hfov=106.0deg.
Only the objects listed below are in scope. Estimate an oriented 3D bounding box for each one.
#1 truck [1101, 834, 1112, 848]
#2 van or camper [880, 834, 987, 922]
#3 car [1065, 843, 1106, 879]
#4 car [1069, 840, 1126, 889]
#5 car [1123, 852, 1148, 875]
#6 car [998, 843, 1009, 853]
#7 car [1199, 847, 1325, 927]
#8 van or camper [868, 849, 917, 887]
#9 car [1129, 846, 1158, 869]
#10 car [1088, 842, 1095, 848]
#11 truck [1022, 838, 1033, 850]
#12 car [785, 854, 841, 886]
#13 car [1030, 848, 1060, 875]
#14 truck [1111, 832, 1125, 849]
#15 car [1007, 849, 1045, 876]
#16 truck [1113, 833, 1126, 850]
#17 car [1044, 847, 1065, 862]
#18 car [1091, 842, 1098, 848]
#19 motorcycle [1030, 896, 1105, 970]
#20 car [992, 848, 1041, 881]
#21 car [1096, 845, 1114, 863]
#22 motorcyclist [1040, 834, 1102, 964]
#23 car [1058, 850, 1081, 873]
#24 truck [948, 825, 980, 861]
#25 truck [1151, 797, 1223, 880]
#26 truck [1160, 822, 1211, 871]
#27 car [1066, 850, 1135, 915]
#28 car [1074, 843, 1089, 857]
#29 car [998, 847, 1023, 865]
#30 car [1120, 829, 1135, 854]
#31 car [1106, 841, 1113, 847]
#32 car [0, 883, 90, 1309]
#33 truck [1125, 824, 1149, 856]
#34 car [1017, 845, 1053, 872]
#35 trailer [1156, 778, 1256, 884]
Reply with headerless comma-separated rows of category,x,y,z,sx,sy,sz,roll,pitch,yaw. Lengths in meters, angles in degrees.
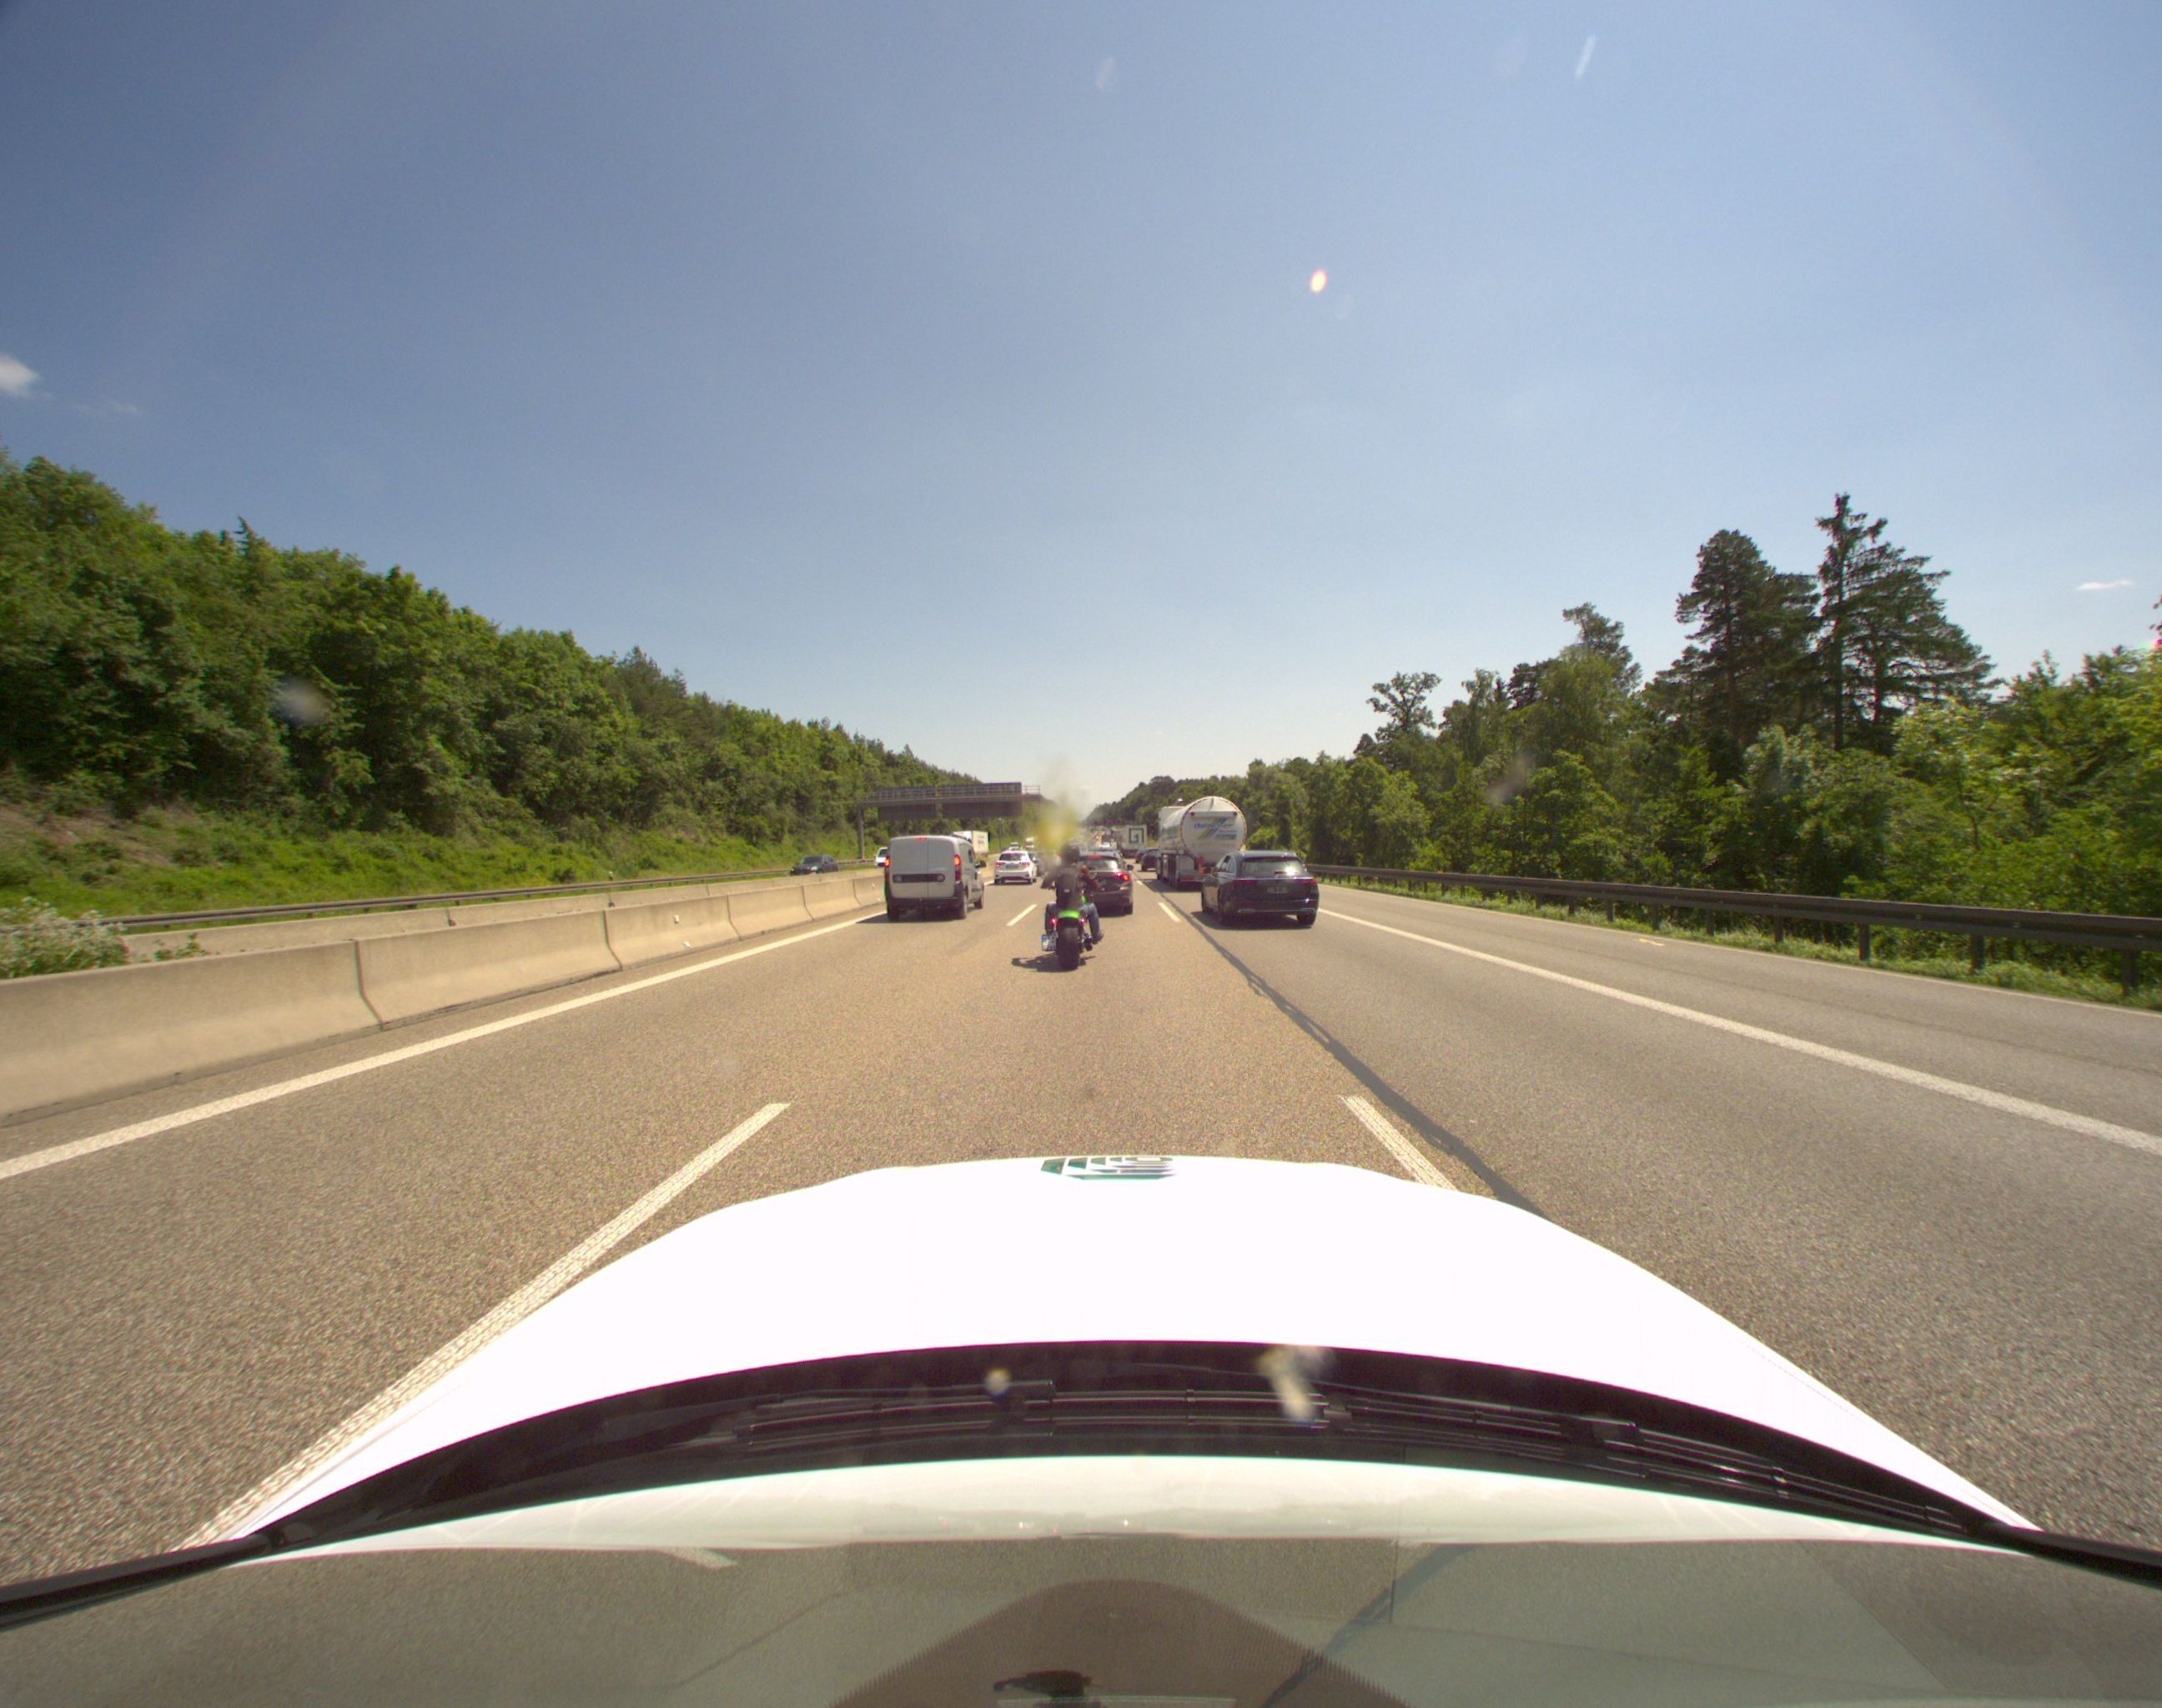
truck,6.456,-3.230,206.202,2.686,3.405,10.483,-2,0,2
van or camper,-3.445,0.474,19.809,1.848,1.880,4.559,0,1,-1
car,0.264,0.376,41.960,1.986,1.775,4.000,0,-1,1
car,0.609,0.385,30.356,1.986,1.711,4.000,0,-1,1
car,4.955,0.857,74.610,1.987,2.014,3.999,0,-1,0
car,-16.536,-1.264,173.881,1.986,2.014,4.001,0,-1,2
car,3.643,0.631,17.228,1.785,1.458,4.626,0,-1,2
van or camper,-13.290,0.964,57.802,1.986,2.385,4.811,-6,-1,2
car,4.218,0.237,55.056,1.769,1.527,4.001,0,-1,2
car,3.064,-2.599,230.309,1.763,1.556,4.002,-2,0,2
truck,-13.095,-2.471,199.300,2.170,2.884,6.744,0,-1,1
car,-17.337,1.010,52.900,2.106,2.014,4.478,0,-1,0
car,-2.781,0.609,63.714,1.986,2.014,4.001,0,-1,1
truck,7.976,-2.850,176.092,2.686,3.405,10.483,-2,0,2
car,-3.158,0.480,47.230,1.988,1.464,3.998,0,-1,-1
truck,5.124,-1.641,108.872,1.584,2.111,3.755,0,-1,4
car,-2.635,0.094,80.507,1.757,1.442,4.002,0,-1,2
car,4.306,-2.790,257.237,1.986,2.013,4.002,-2,0,2
motorcycle,-0.134,1.042,11.315,0.932,0.793,2.300,0,0,2
car,-2.886,0.475,37.076,1.769,1.411,4.001,0,-1,2
car,2.719,0.013,92.671,1.986,2.013,4.002,-1,0,2
motorcyclist,-0.118,0.591,11.088,0.796,1.688,1.017,0,-1,2
car,-1.022,0.703,76.571,1.986,2.014,4.001,0,-1,2
truck,-15.346,-1.363,107.604,2.938,4.481,7.519,0,-1,1
truck,4.997,-0.672,39.395,2.817,3.671,6.432,0,-1,2
truck,6.737,-0.484,53.392,2.380,2.979,8.254,-1,0,1
car,0.500,0.634,20.230,1.535,1.450,4.002,0,0,2
car,0.092,-0.660,122.898,1.986,2.013,4.002,-2,0,2
car,-6.241,0.166,72.248,1.818,1.494,4.001,-1,0,1
car,7.591,-1.995,133.848,2.159,3.892,9.333,0,-1,2
car,7.954,-2.789,227.986,1.871,1.618,4.002,-2,0,2
car,-4.706,0.834,0.711,1.867,1.450,4.680,0,0,2
truck,7.040,-1.660,101.734,2.840,3.821,7.196,0,-1,5
car,-2.973,0.293,53.385,1.986,1.684,4.332,0,-1,2
trailer,4.816,-0.739,33.587,2.817,3.671,10.736,0,-1,2
